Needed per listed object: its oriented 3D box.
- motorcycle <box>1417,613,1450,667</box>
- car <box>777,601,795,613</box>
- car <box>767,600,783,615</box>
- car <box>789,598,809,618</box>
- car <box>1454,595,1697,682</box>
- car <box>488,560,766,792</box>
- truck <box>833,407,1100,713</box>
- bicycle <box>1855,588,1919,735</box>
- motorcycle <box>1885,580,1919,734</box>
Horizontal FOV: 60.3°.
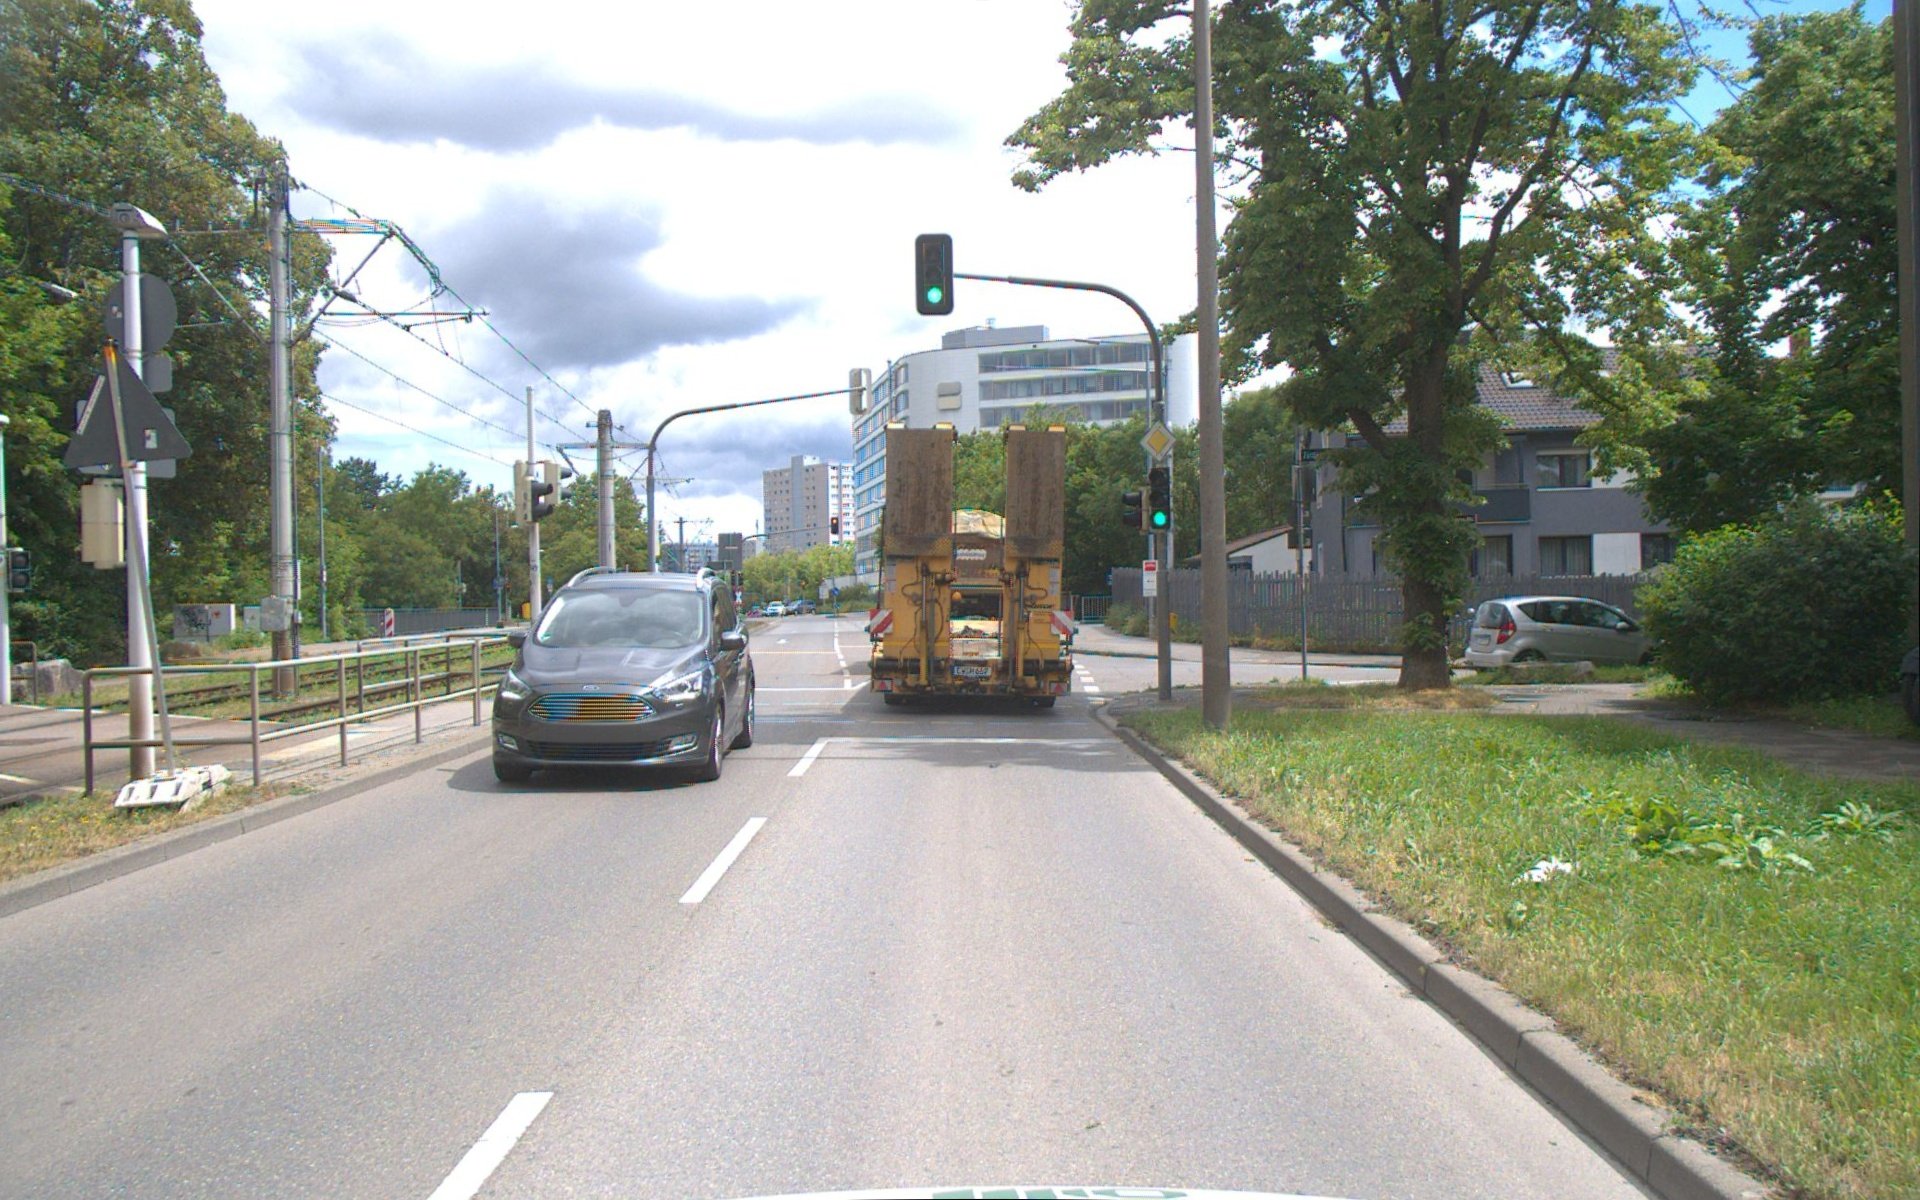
[{"bbox_3d":[10.706,0.893,37.341,0.645,1.169,2.426,0,0,18],"label":"motorcycle"},{"bbox_3d":[-20.305,0.806,193.231,1.956,1.445,3.993,1,0,-7],"label":"car"},{"bbox_3d":[-19.465,0.773,173.938,1.562,1.553,3.650,-1,0,-6],"label":"car"},{"bbox_3d":[-16.598,0.818,170.451,1.956,1.959,3.993,1,0,-7],"label":"car"},{"bbox_3d":[11.675,0.703,31.488,3.913,1.581,1.935,0,0,-9],"label":"car"},{"bbox_3d":[-2.702,0.557,14.312,1.673,1.705,4.226,1,0,-2],"label":"car"},{"bbox_3d":[-0.132,-0.441,26.405,3.249,3.715,12.556,0,0,-2],"label":"truck"},{"bbox_3d":[9.358,0.532,14.921,2.121,1.305,0.681,-1,-1,8],"label":"bicycle"},{"bbox_3d":[9.261,0.465,14.213,2.157,1.305,0.681,-1,-1,8],"label":"motorcycle"}]
